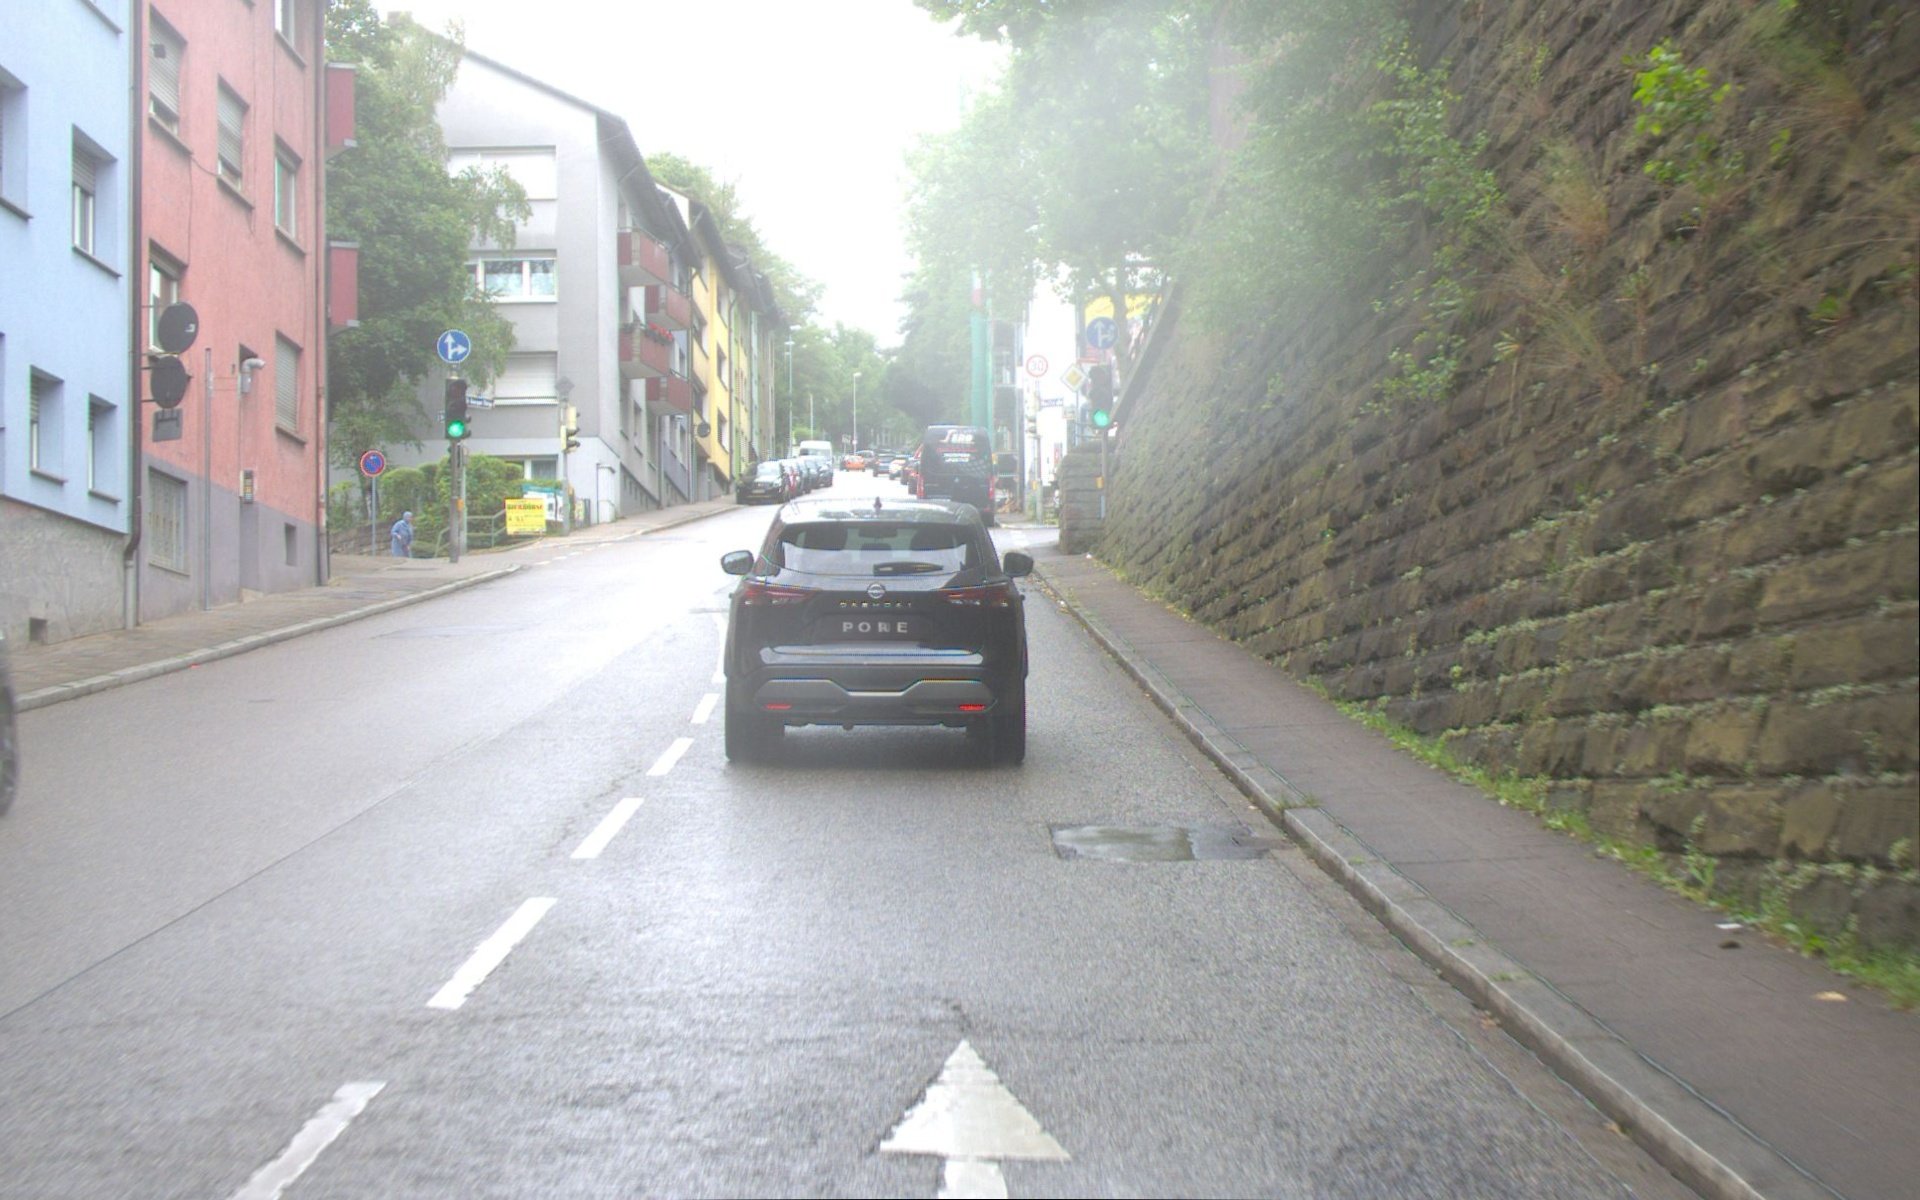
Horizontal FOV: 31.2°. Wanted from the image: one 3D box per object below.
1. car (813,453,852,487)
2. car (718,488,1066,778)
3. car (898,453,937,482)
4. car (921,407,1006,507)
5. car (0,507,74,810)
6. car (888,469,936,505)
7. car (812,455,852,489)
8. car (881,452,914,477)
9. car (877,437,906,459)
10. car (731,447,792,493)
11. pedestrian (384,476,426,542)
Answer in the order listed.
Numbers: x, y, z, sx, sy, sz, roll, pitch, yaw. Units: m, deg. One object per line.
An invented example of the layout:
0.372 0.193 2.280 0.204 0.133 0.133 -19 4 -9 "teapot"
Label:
-6.803 -6.942 183.687 1.990 1.749 4.481 -1 2 -2 "car"
-0.419 0.128 21.908 1.993 1.554 4.001 1 3 -1 "car"
-2.358 -7.298 189.746 2.074 1.554 4.001 0 3 -2 "car"
0.137 -3.674 89.425 1.993 2.405 5.836 1 1 2 "car"
-5.693 0.346 16.146 1.993 1.473 4.000 -3 1 -1 "car"
-2.197 -5.104 154.804 2.074 1.554 4.001 0 3 -2 "car"
-6.567 -6.586 177.224 1.990 1.580 4.305 -1 1 -2 "car"
-3.987 -8.668 219.565 2.074 1.554 4.001 0 3 -2 "car"
-4.918 -10.944 247.201 2.074 1.554 4.001 0 3 -2 "car"
-7.873 -5.162 136.658 1.993 1.644 4.441 -1 0 2 "car"
-13.309 -2.175 82.444 0.869 1.536 1.087 1 0 -4 "pedestrian"
